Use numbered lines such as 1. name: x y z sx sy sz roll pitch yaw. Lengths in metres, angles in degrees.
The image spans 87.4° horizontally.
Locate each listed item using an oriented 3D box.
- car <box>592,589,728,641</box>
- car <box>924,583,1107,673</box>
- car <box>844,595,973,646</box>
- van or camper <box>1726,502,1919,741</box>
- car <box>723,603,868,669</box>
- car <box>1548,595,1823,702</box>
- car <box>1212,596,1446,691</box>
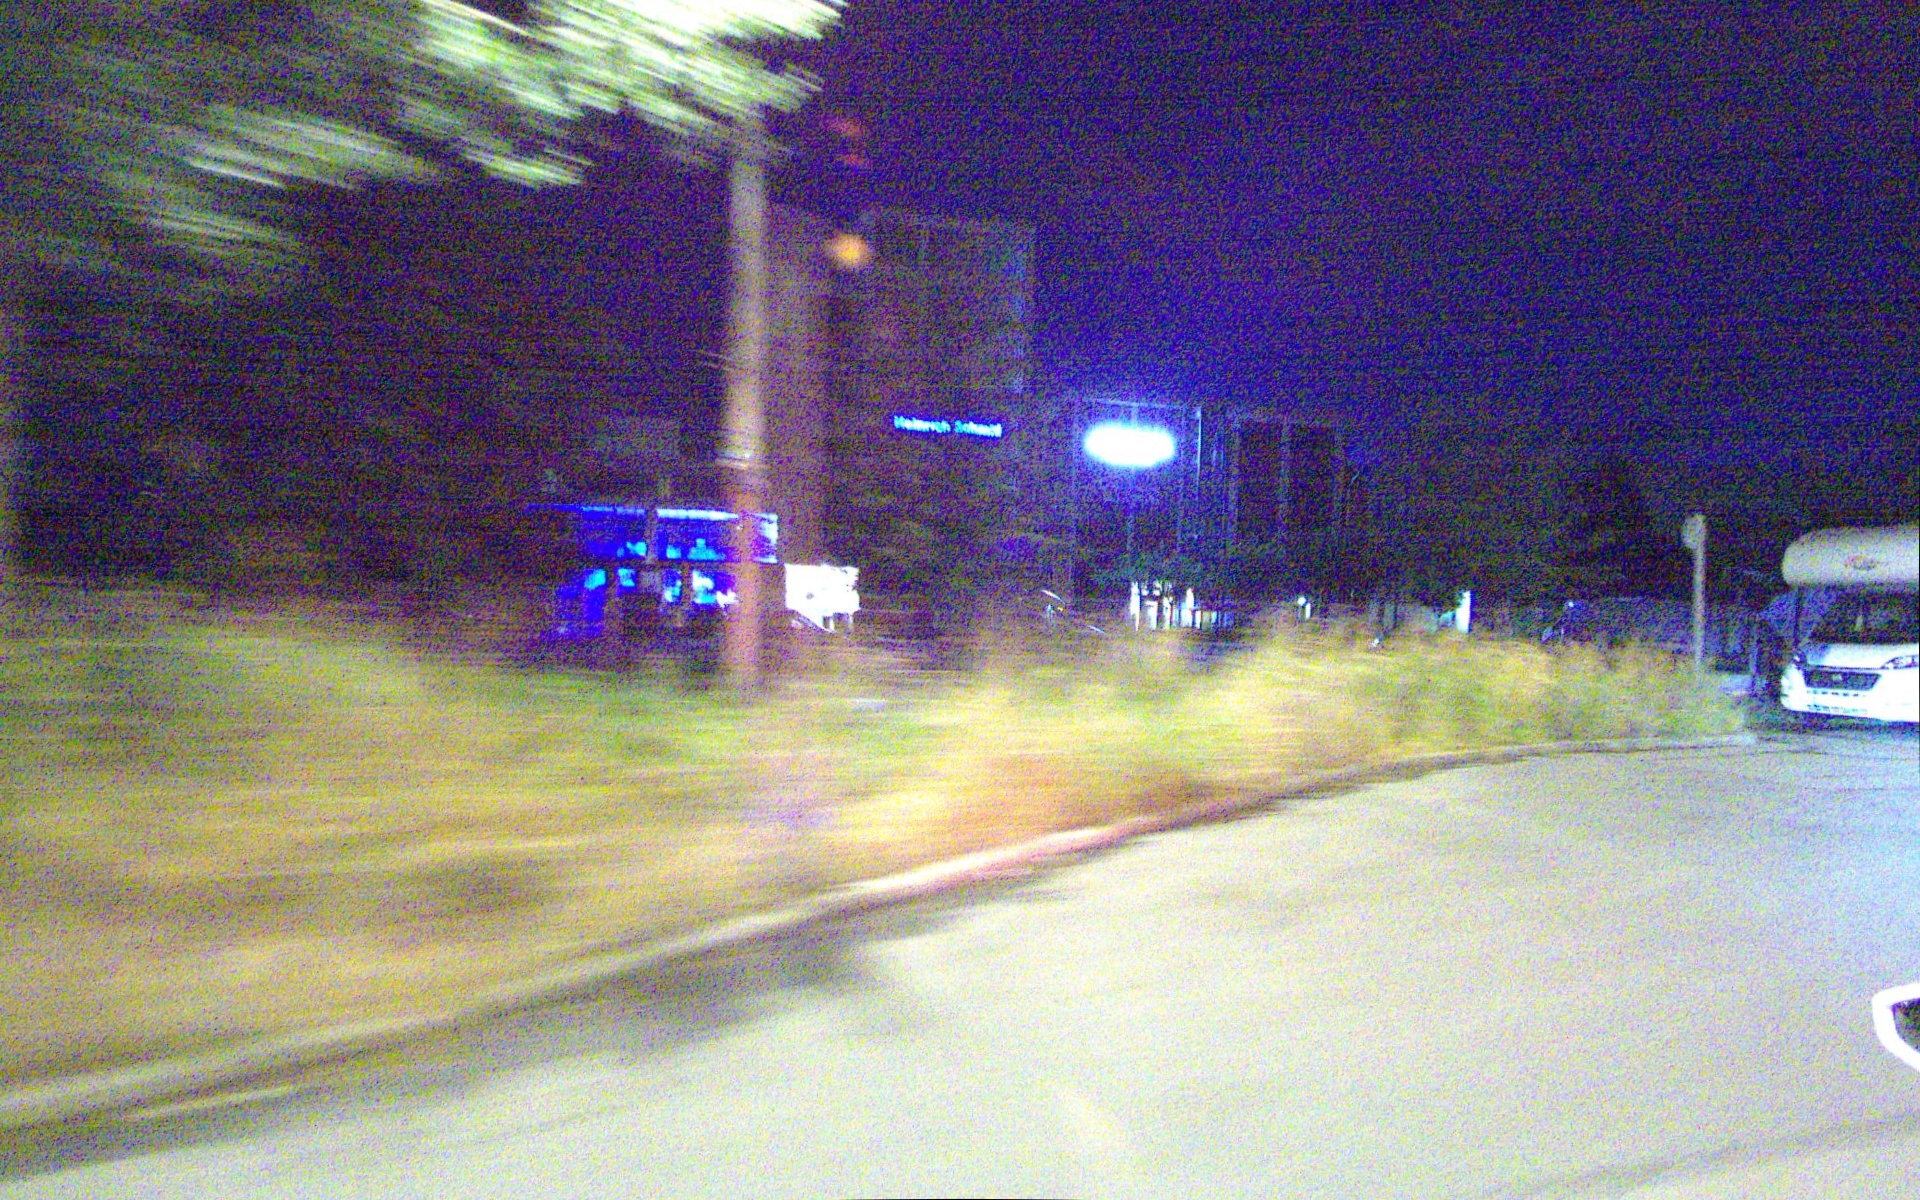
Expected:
1. car: -12.945 0.638 43.479 5.451 2.053 2.485 1 3 -18
2. car: 1.859 0.856 32.970 5.759 2.589 2.001 2 3 8
3. car: -2.372 0.898 45.227 5.443 2.053 2.489 1 3 -13
4. van or camper: 15.800 0.399 15.392 7.322 3.135 2.519 2 0 -16
5. car: -5.487 1.157 33.816 4.392 1.910 2.001 2 3 8
6. car: 22.122 1.425 30.919 6.544 2.880 2.001 2 3 8
7. car: 11.416 1.305 31.566 6.544 2.589 2.001 2 3 8
